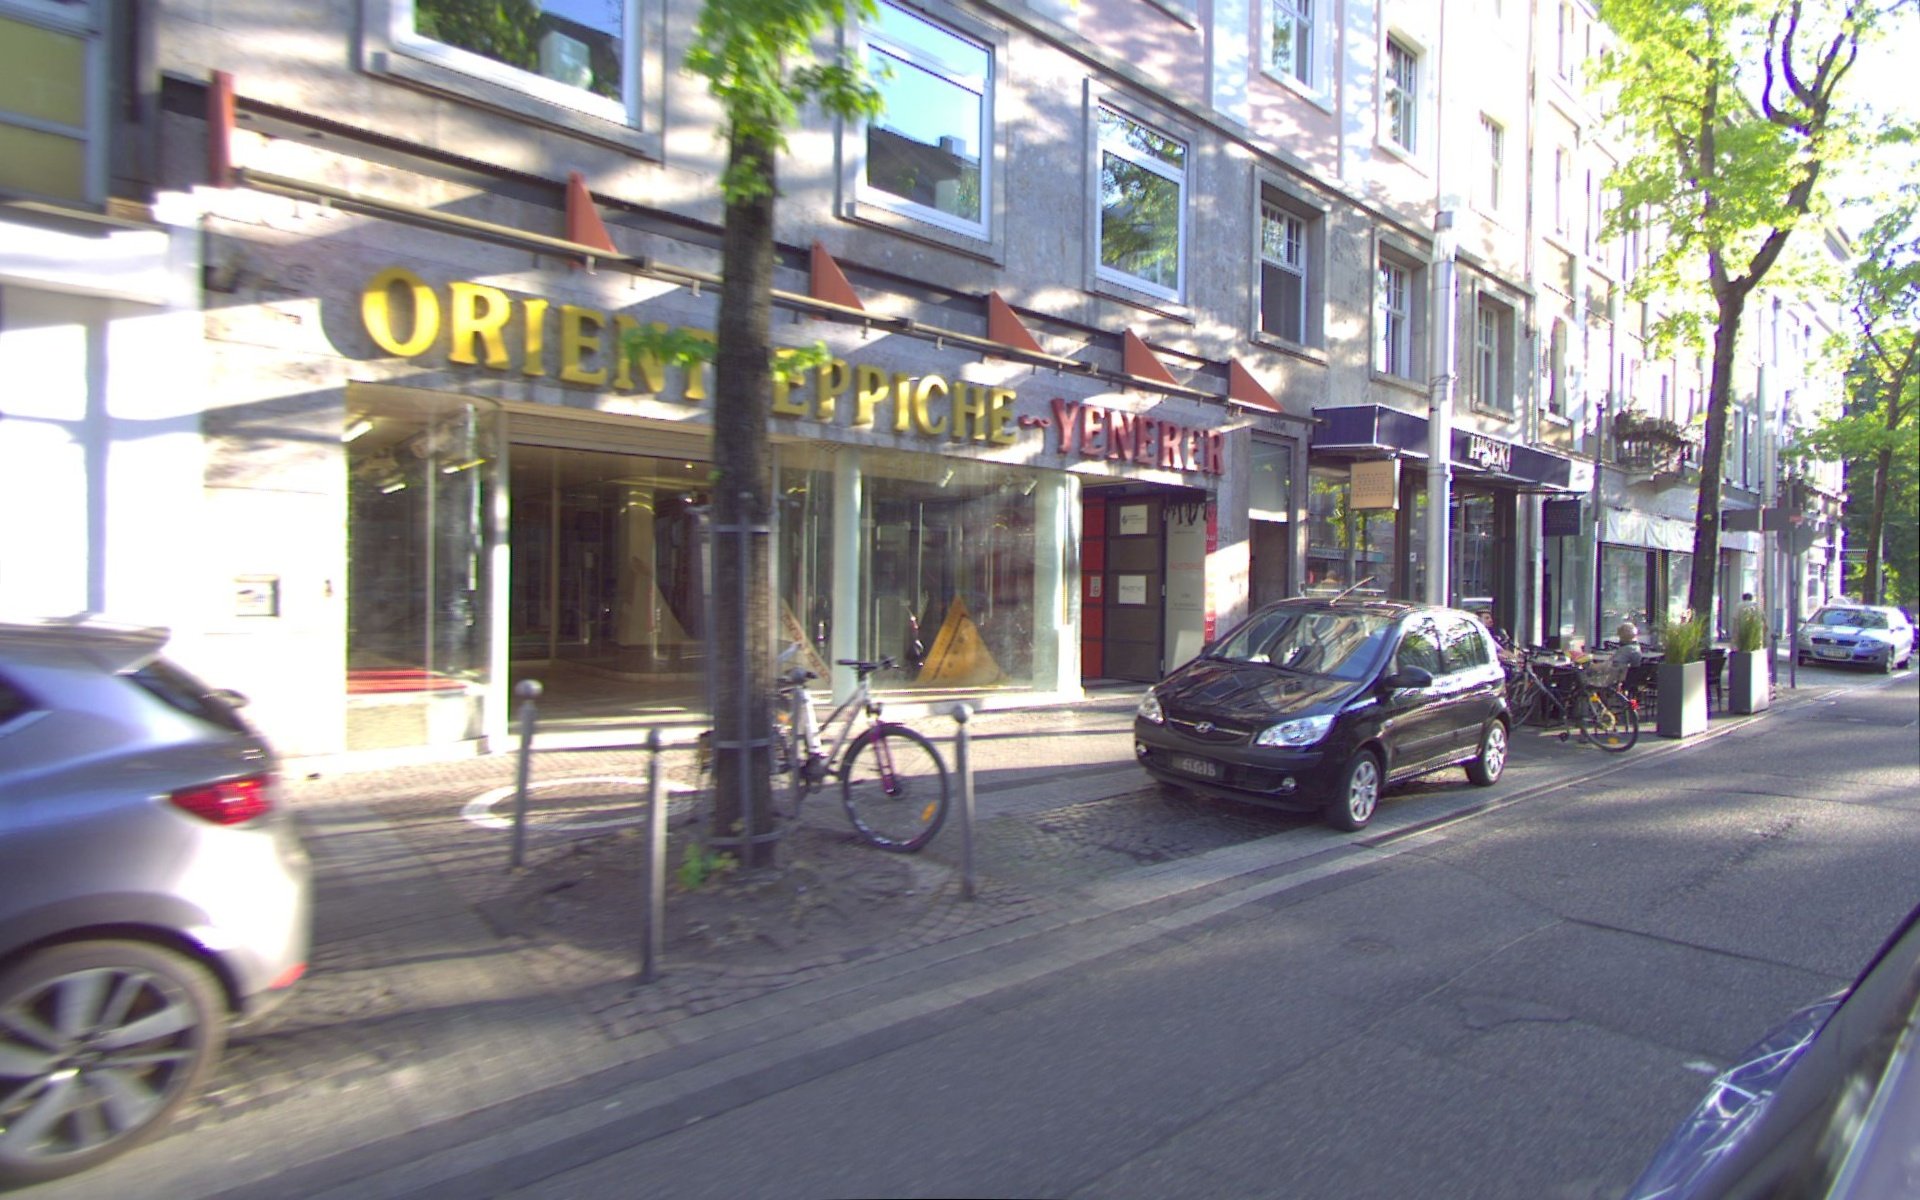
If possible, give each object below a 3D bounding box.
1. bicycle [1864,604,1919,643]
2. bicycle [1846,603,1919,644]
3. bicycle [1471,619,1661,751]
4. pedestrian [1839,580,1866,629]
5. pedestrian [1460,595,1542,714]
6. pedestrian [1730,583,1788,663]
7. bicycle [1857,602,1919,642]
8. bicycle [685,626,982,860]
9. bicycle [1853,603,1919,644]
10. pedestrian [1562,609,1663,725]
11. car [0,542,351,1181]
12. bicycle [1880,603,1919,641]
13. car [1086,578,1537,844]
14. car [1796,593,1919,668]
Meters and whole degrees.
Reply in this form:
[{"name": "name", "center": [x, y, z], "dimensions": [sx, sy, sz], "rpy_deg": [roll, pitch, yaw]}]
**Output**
[{"name": "bicycle", "center": [29.711, 0.738, 31.849], "dimensions": [0.341, 1.169, 1.871], "rpy_deg": [0, 1, -38]}, {"name": "bicycle", "center": [27.794, 0.701, 30.274], "dimensions": [0.552, 1.169, 1.871], "rpy_deg": [0, 1, -38]}, {"name": "bicycle", "center": [6.318, 0.838, 10.671], "dimensions": [0.535, 1.152, 1.736], "rpy_deg": [0, 3, -20]}, {"name": "pedestrian", "center": [38.099, 0.180, 43.207], "dimensions": [0.842, 2.039, 0.832], "rpy_deg": [0, 1, 40]}, {"name": "pedestrian", "center": [6.714, 0.653, 12.598], "dimensions": [0.698, 1.404, 0.745], "rpy_deg": [1, 0, 12]}, {"name": "pedestrian", "center": [17.247, 0.483, 21.851], "dimensions": [0.742, 1.663, 0.805], "rpy_deg": [0, 1, -40]}, {"name": "bicycle", "center": [29.246, 0.680, 31.534], "dimensions": [0.552, 1.169, 1.871], "rpy_deg": [0, 1, -38]}, {"name": "bicycle", "center": [-0.807, 0.756, 6.060], "dimensions": [1.853, 1.087, 0.702], "rpy_deg": [2, 2, 41]}, {"name": "bicycle", "center": [28.293, 0.698, 30.618], "dimensions": [0.552, 1.169, 1.871], "rpy_deg": [0, 1, -38]}, {"name": "pedestrian", "center": [7.613, 0.753, 11.817], "dimensions": [0.575, 1.281, 0.820], "rpy_deg": [0, 1, -35]}, {"name": "car", "center": [-3.825, 0.624, 2.225], "dimensions": [1.816, 1.503, 3.936], "rpy_deg": [6, 5, 44]}, {"name": "bicycle", "center": [30.419, 0.699, 32.477], "dimensions": [0.454, 1.169, 1.677], "rpy_deg": [0, 1, 10]}, {"name": "car", "center": [2.868, 0.633, 7.921], "dimensions": [3.593, 1.475, 1.803], "rpy_deg": [-1, 5, -43]}, {"name": "car", "center": [21.297, 0.639, 23.746], "dimensions": [4.344, 1.457, 1.780], "rpy_deg": [-1, 4, -40]}]
